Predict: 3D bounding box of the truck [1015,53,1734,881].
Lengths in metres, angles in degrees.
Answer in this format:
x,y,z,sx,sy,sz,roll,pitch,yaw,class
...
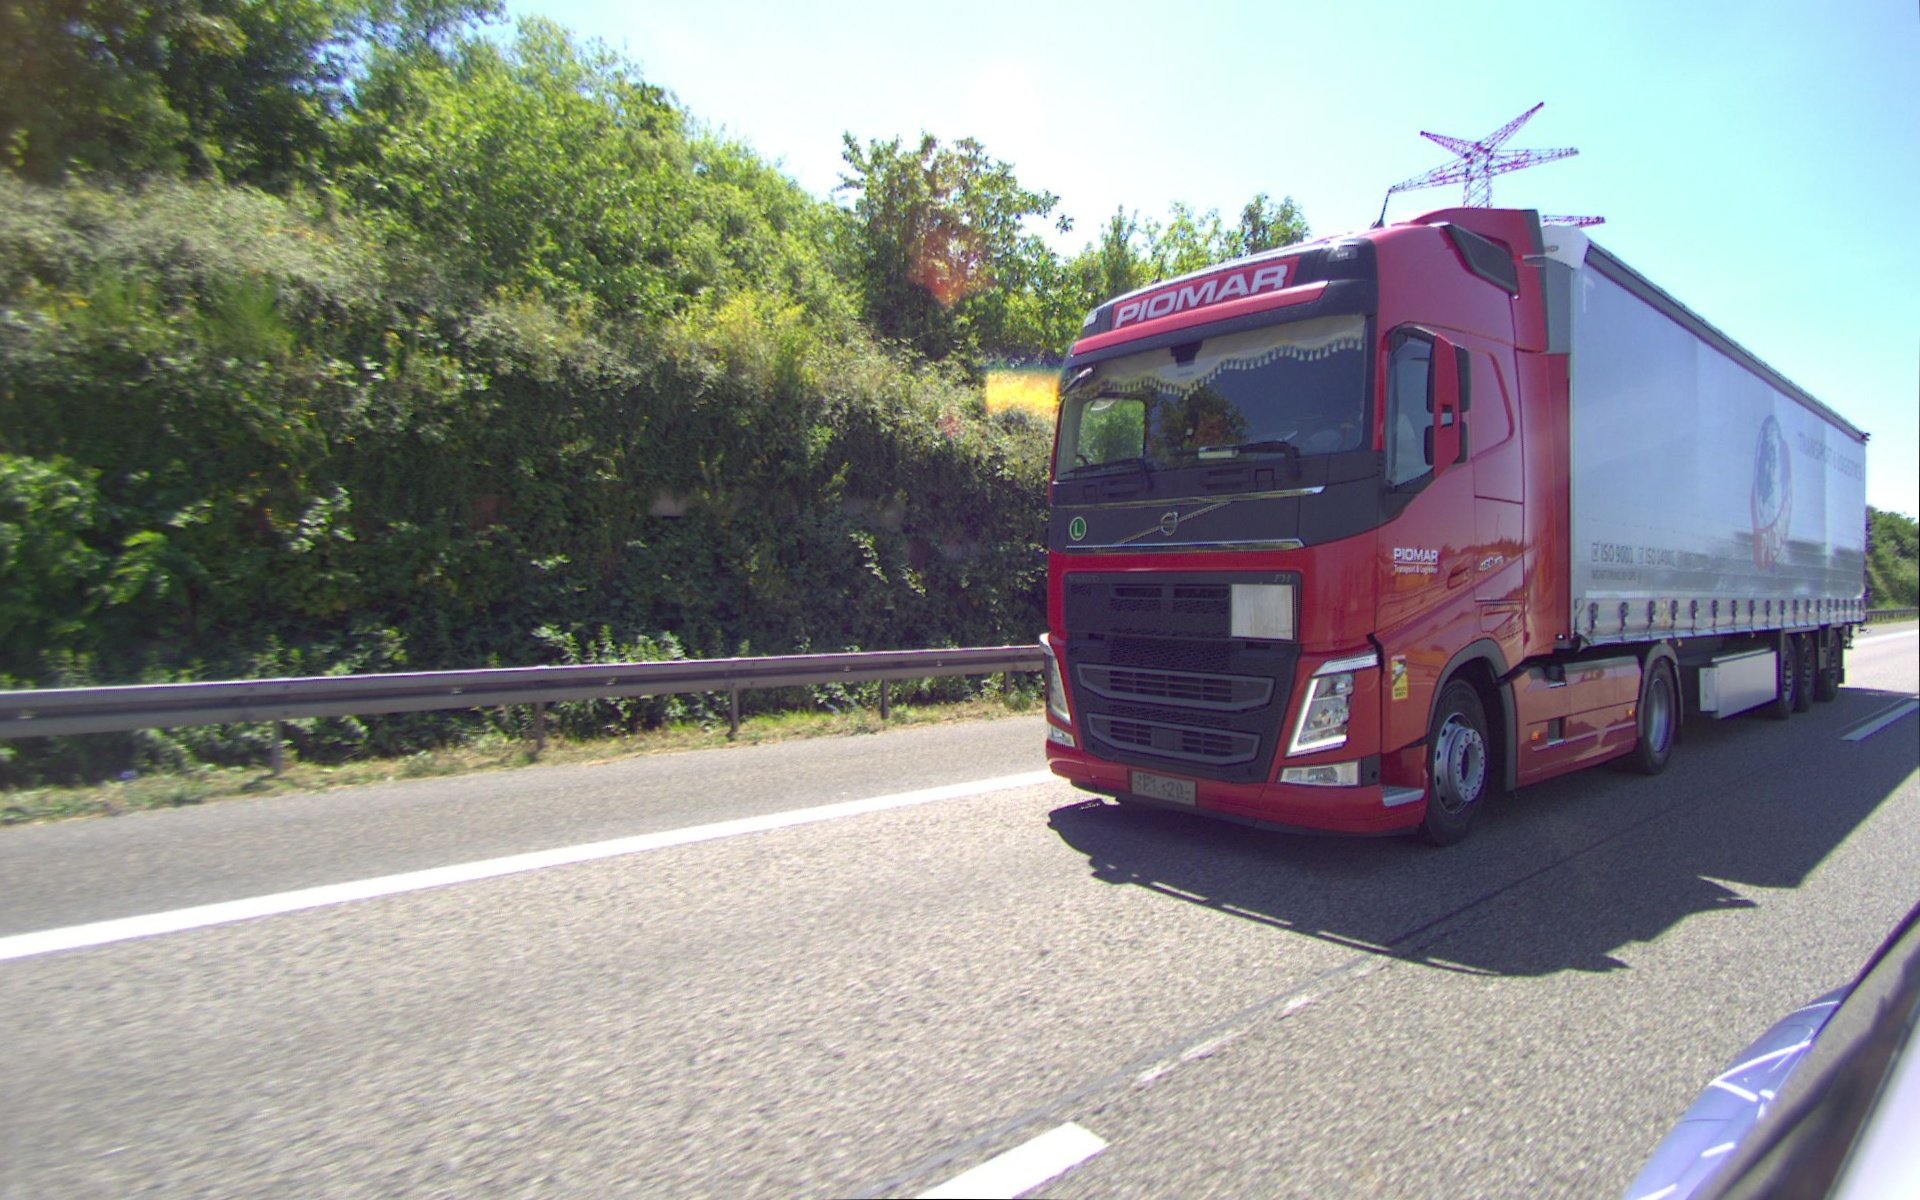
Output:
x,y,z,sx,sy,sz,roll,pitch,yaw,class
3.797,-0.675,8.108,6.973,3.969,2.503,0,1,-41,truck

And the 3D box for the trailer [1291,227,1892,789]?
x,y,z,sx,sy,sz,roll,pitch,yaw,class
9.012,-0.709,12.699,13.998,3.959,2.494,0,1,-41,trailer
